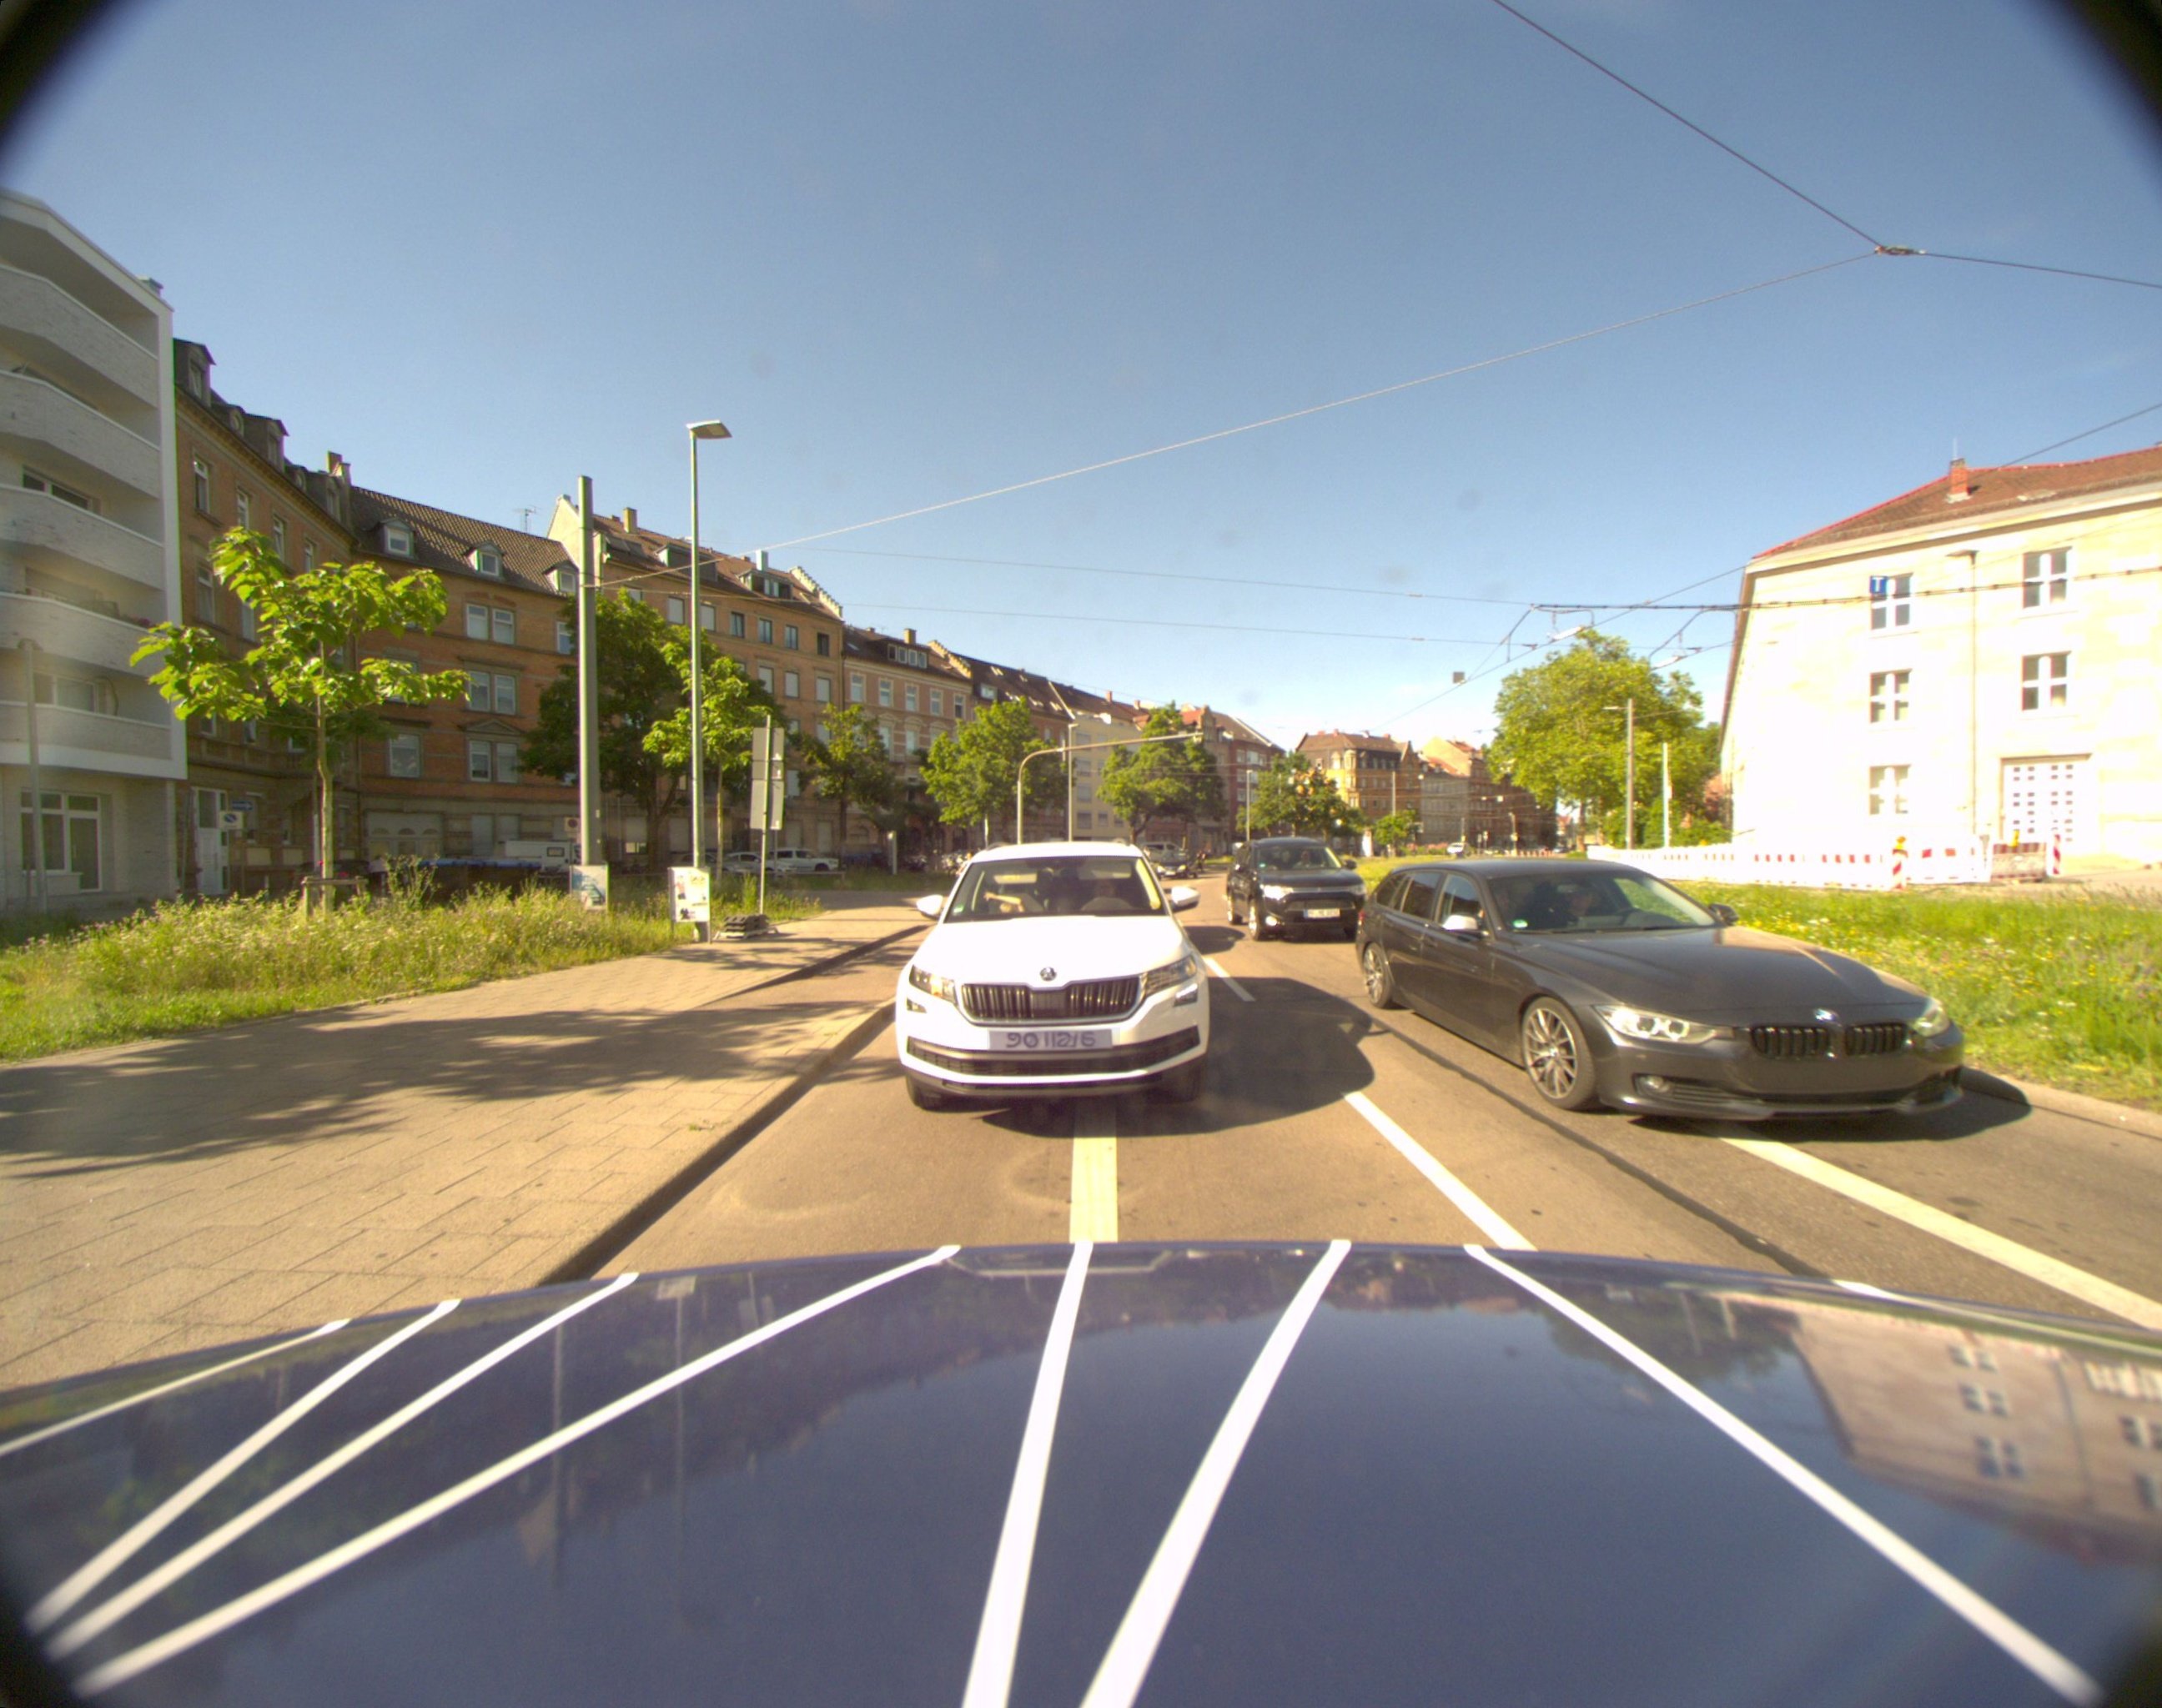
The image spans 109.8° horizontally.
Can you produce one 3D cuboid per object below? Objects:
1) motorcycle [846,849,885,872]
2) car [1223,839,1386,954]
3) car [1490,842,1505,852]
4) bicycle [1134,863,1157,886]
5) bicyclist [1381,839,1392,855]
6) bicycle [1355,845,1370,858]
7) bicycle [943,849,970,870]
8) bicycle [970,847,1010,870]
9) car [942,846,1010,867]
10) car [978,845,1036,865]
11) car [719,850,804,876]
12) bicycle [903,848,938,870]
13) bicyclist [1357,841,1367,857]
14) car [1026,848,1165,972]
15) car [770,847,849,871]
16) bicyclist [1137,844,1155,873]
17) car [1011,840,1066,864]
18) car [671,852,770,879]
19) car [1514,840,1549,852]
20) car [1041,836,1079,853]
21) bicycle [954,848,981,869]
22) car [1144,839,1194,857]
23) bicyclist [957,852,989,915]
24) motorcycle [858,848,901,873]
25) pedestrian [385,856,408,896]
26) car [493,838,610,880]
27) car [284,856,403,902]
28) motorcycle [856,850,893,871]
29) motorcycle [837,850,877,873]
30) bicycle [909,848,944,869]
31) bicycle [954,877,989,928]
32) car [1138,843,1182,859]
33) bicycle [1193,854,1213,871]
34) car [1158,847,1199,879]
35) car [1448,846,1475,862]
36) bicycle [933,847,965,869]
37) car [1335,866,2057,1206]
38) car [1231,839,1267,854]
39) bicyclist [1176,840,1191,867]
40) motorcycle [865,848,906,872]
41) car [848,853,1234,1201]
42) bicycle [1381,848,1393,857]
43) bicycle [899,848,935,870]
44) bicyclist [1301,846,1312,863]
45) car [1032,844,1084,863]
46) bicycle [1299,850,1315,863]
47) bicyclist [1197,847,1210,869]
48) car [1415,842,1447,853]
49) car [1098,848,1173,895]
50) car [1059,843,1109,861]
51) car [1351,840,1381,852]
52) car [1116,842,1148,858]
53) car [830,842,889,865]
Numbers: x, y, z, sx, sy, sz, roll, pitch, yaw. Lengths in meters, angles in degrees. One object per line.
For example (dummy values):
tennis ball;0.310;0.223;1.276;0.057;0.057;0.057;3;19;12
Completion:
motorcycle;-12.942;0.412;45.621;2.314;1.276;0.664;-2;1;24
car;3.696;0.623;13.395;1.841;1.636;4.399;-2;0;5
car;65.253;-1.095;119.111;1.836;1.464;4.722;1;1;31
bicycle;3.905;1.231;45.919;0.714;1.319;1.752;1;0;27
bicyclist;36.965;-0.854;91.943;0.847;2.002;1.199;0;1;41
bicycle;31.273;-0.268;84.416;0.735;1.353;2.079;0;1;44
bicycle;-7.687;0.337;46.756;0.664;1.260;2.199;-3;1;-36
bicycle;-5.478;0.264;45.736;2.207;1.260;0.662;-3;1;-25
car;-7.045;0.171;51.292;4.322;1.398;1.682;0;1;3
car;-5.229;0.083;53.961;3.822;1.398;1.683;0;1;9
car;-16.409;0.437;39.102;3.696;1.244;1.683;0;1;13
bicycle;-9.708;0.291;46.005;2.198;1.260;0.664;-2;1;32
bicyclist;31.219;-0.552;84.394;0.734;1.685;0.973;0;1;44
car;0.233;0.759;12.605;1.842;1.636;4.397;-2;0;1
car;-14.682;0.253;41.191;3.700;1.244;1.540;0;1;2
bicyclist;3.909;0.265;45.892;0.714;1.715;1.096;1;1;27
car;-3.110;-0.141;56.100;3.825;1.698;1.682;0;1;3
car;-17.502;0.531;36.903;4.156;1.244;1.683;0;1;13
car;63.915;-1.127;107.796;4.058;1.647;1.770;1;2;34
car;-1.942;-0.947;71.662;1.547;1.578;3.607;1;2;41
bicycle;-7.124;0.305;47.750;0.664;1.260;2.199;-3;1;-36
car;8.196;-0.594;70.606;4.578;1.658;1.600;0;1;7
bicyclist;-2.520;0.677;17.878;0.669;1.428;0.940;-1;1;-5
motorcycle;-11.180;0.371;42.203;2.200;1.322;0.663;-2;1;13
pedestrian;-25.077;0.802;27.838;0.509;1.448;0.481;-3;2;-38
car;-27.120;0.215;39.006;2.047;2.026;4.510;1;2;41
car;-26.170;0.828;27.144;1.835;1.419;4.378;-1;1;-27
motorcycle;-12.604;0.398;46.401;2.199;1.260;0.664;-2;1;24
motorcycle;-13.291;0.435;45.016;2.314;1.270;0.664;-2;1;24
bicycle;-9.512;0.276;46.708;2.198;1.260;0.664;-2;1;32
bicycle;-2.550;1.117;17.903;0.669;1.066;1.819;1;1;-4
car;7.124;-0.254;68.176;3.823;1.372;1.600;0;1;9
bicycle;8.944;0.646;55.734;0.636;1.190;2.158;0;1;33
car;5.467;0.440;42.265;1.837;1.637;4.152;0;1;13
car;52.528;-0.003;104.896;1.977;2.074;4.723;1;2;44
bicycle;-7.731;0.237;44.514;0.664;1.260;2.198;-3;1;-45
car;3.477;0.847;5.591;1.741;1.359;4.426;-2;0;1
car;18.692;-0.827;84.655;3.823;1.581;1.600;0;1;6
bicyclist;7.110;-0.055;52.698;0.808;1.855;0.751;0;3;27
motorcycle;-11.150;0.354;43.290;2.200;1.315;0.664;-2;1;18
car;-0.229;0.852;5.946;1.842;1.636;4.397;-2;0;-1
bicycle;36.996;-0.175;91.887;0.762;1.138;2.287;0;1;40
bicycle;-9.744;0.303;45.067;2.198;1.260;0.664;-2;1;30
bicyclist;21.429;0.019;72.074;0.667;1.619;0.973;0;1;38
car;-1.778;-0.058;58.709;3.823;1.398;1.600;0;1;6
bicycle;21.442;0.258;72.070;0.667;1.190;2.159;0;1;37
bicyclist;9.017;0.278;55.859;0.629;1.619;0.973;0;1;33
car;52.993;-1.010;115.166;4.058;1.647;1.770;1;2;42
car;2.099;0.590;28.253;1.837;1.543;4.153;0;1;18
car;0.258;-0.164;61.161;3.823;1.398;1.600;0;1;6
car;46.226;-1.278;123.272;4.336;1.871;1.844;1;2;35
car;5.466;-0.428;80.724;1.547;1.578;3.607;1;2;41
car;-15.612;-0.059;53.667;1.547;1.578;3.709;1;2;41
